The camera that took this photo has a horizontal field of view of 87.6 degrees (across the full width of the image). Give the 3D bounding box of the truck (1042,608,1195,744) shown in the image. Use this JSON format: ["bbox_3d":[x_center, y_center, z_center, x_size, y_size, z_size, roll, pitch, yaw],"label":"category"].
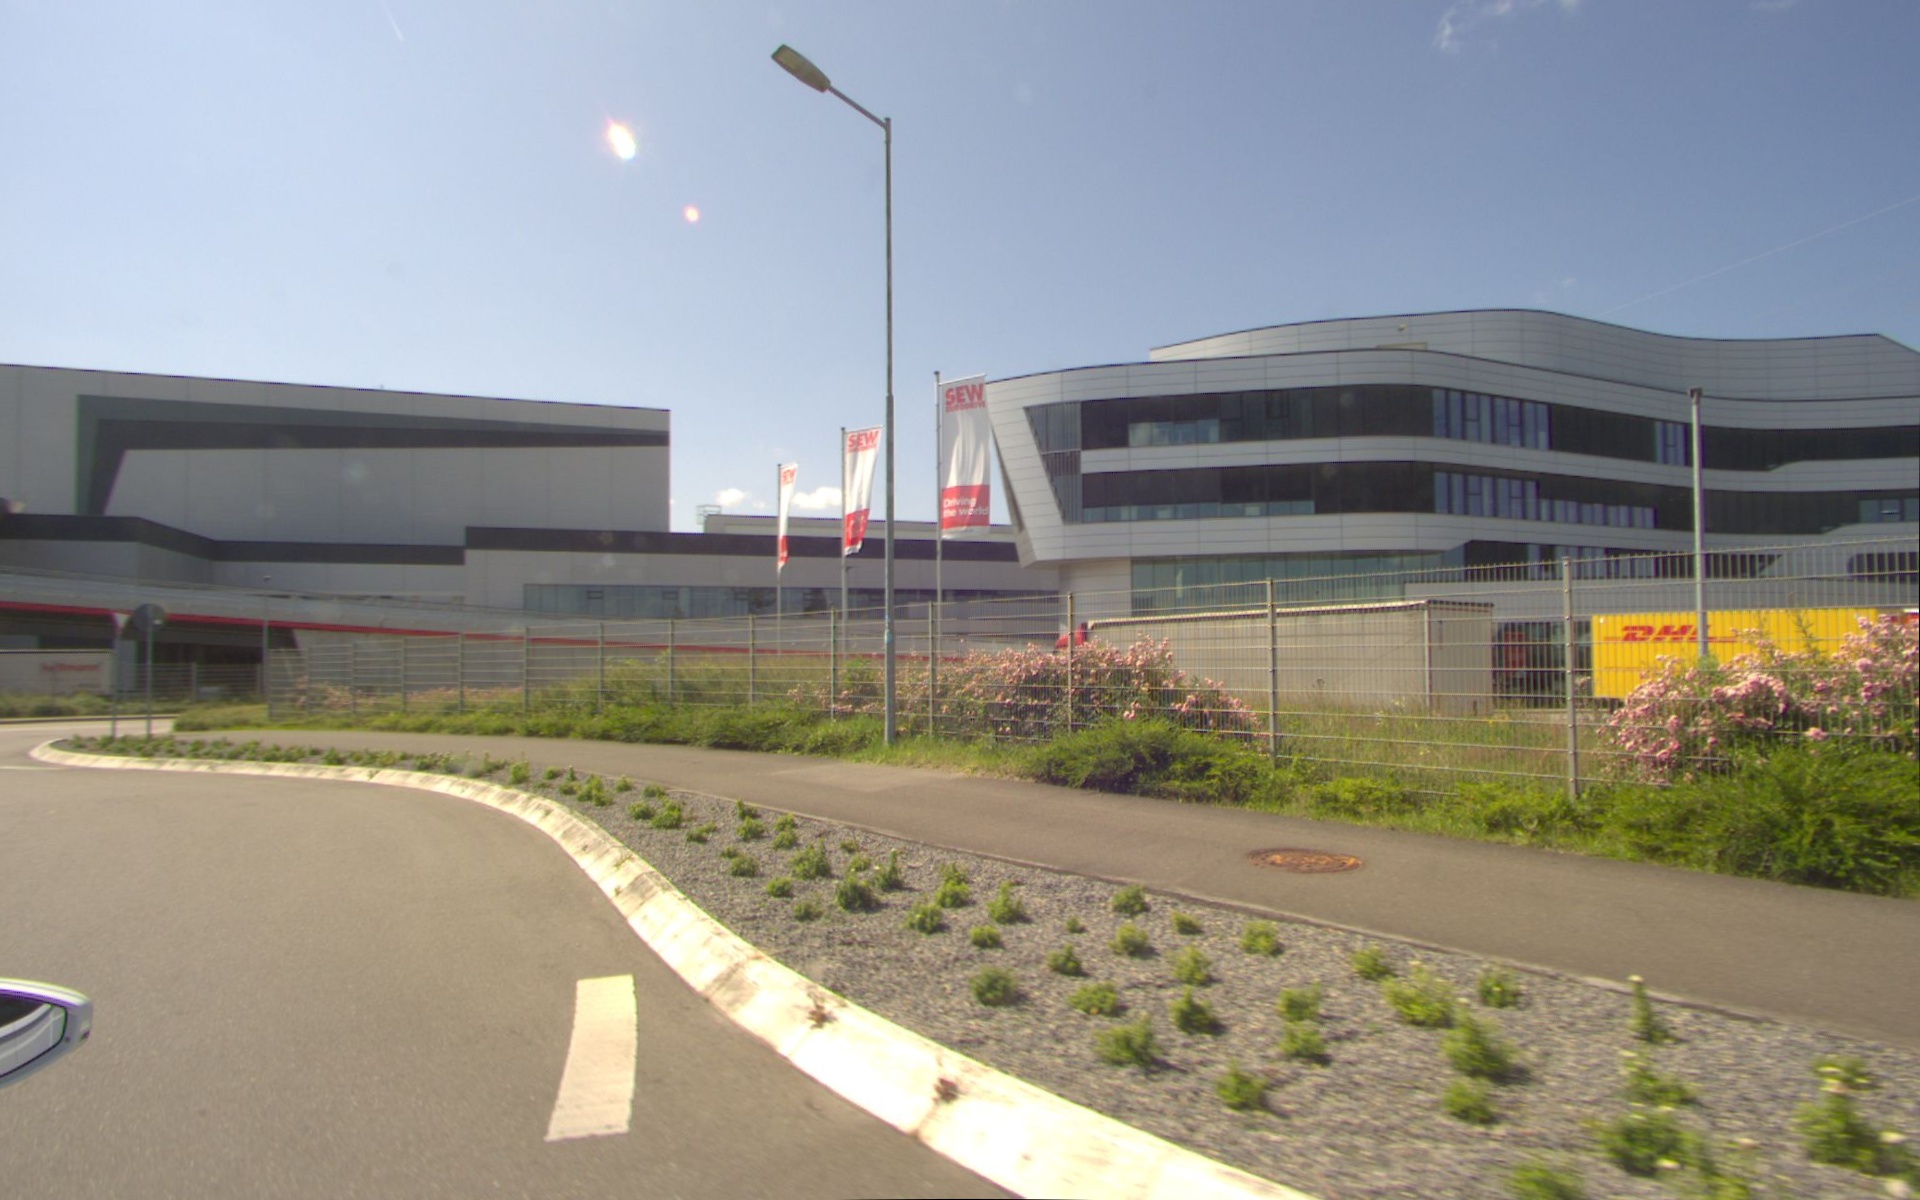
[{"bbox_3d":[5.595,2.623,36.104,2.726,4.479,5.267,0,-2,-29],"label":"truck"}]

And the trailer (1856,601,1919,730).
[{"bbox_3d":[34.754,2.097,31.929,2.983,4.350,8.680,0,-2,-28],"label":"trailer"}]

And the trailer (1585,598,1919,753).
[{"bbox_3d":[25.610,2.286,32.472,2.861,4.350,8.670,0,-2,-31],"label":"trailer"}]

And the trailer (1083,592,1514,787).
[{"bbox_3d":[8.939,2.346,29.943,2.725,4.494,14.002,0,-2,-29],"label":"trailer"}]

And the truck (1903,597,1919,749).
[{"bbox_3d":[30.373,1.837,24.025,2.780,4.225,10.929,0,-2,-28],"label":"truck"}]
